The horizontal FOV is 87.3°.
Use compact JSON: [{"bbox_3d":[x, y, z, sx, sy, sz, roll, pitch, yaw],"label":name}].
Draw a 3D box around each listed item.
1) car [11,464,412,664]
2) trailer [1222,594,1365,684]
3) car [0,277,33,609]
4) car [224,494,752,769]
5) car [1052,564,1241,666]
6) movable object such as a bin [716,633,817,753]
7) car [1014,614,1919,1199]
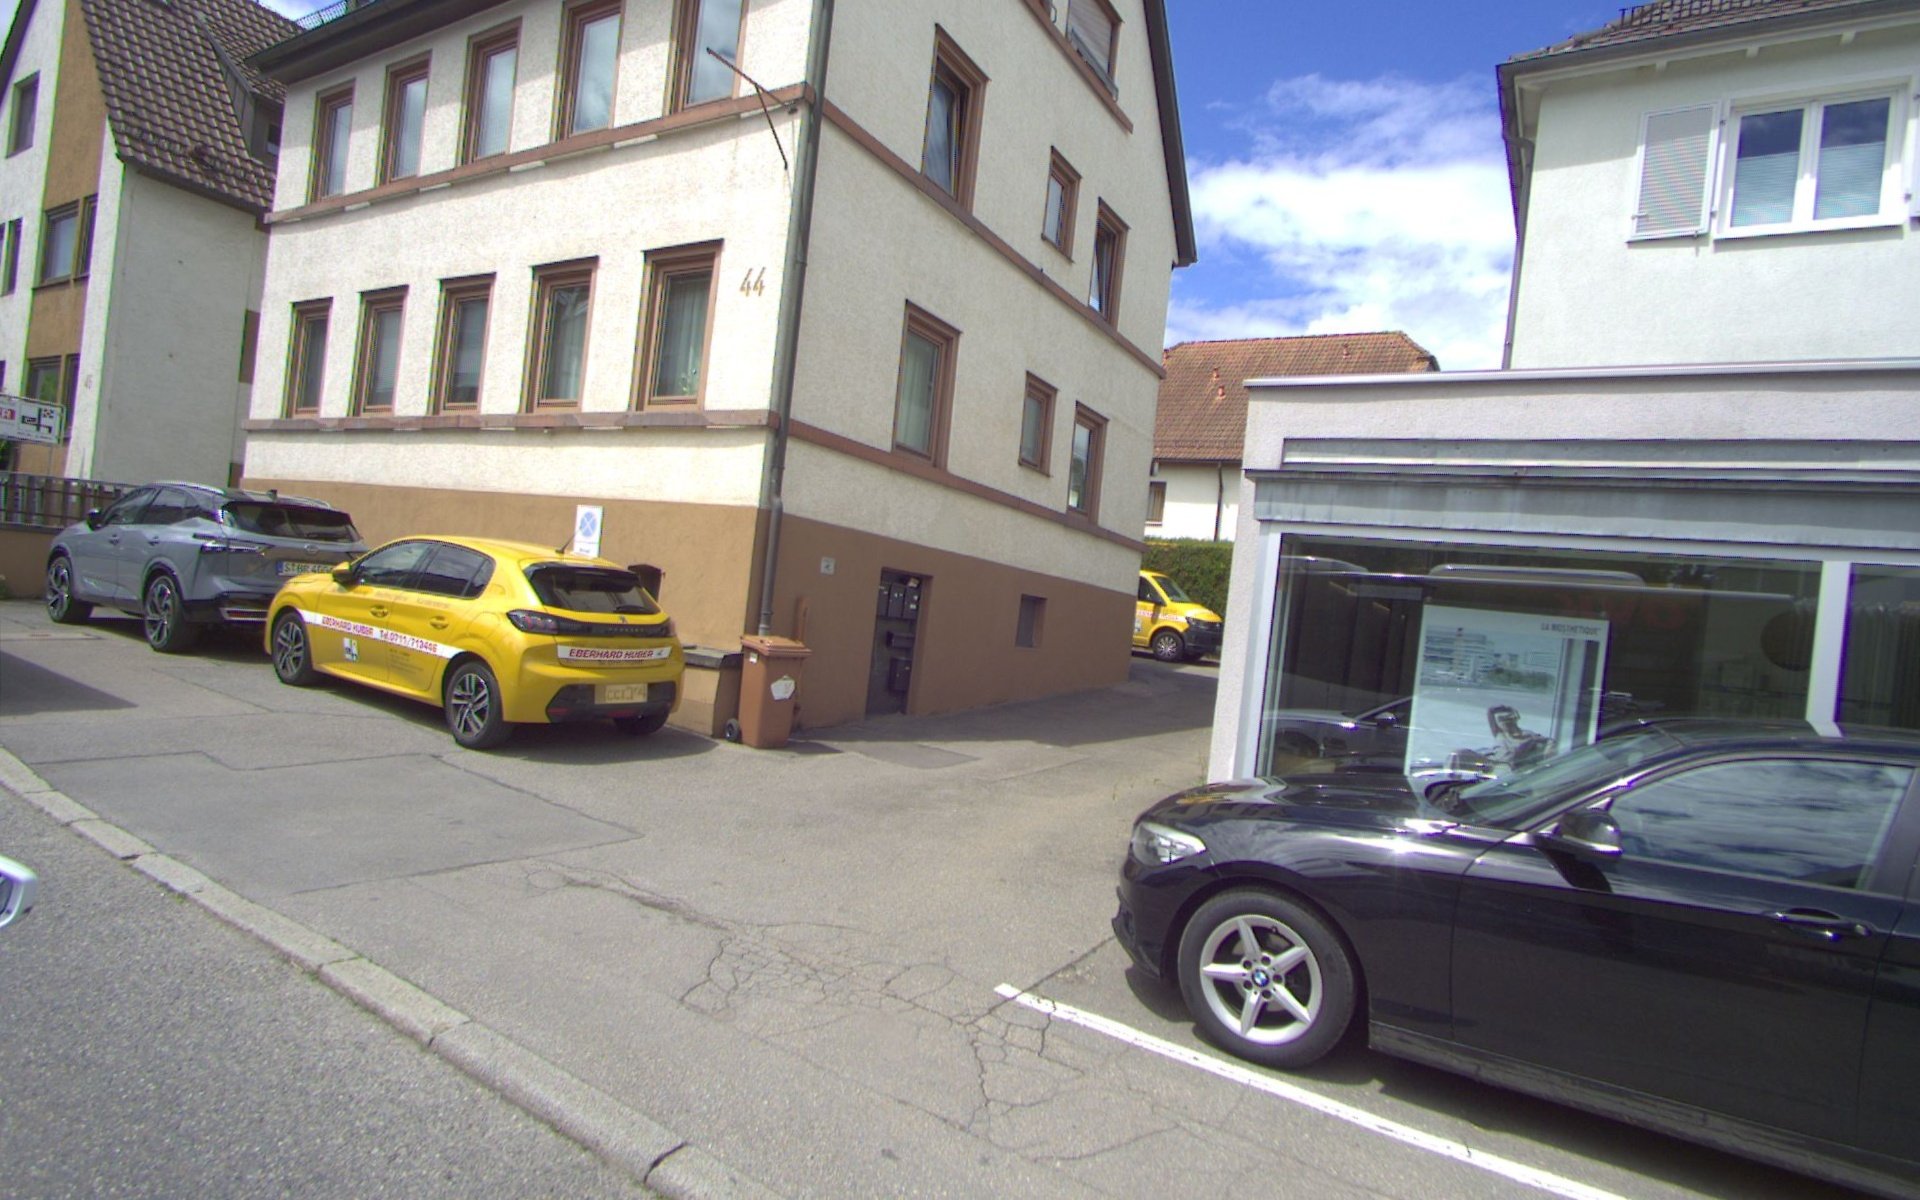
[{"bbox_3d":[-8.133,-0.426,10.819,4.510,1.632,1.862,7,1,32],"label":"car"},{"bbox_3d":[7.028,0.822,21.016,1.619,1.559,3.531,8,3,38],"label":"trailer"},{"bbox_3d":[-8.995,-0.963,7.046,5.479,2.830,2.254,7,0,33],"label":"car"},{"bbox_3d":[-4.066,0.161,8.506,4.234,1.466,1.879,9,1,30],"label":"car"},{"bbox_3d":[4.253,0.303,23.113,3.715,1.928,1.844,6,3,33],"label":"car"},{"bbox_3d":[-1.674,0.796,8.704,0.589,0.936,0.501,7,1,36],"label":"movable object such as a bin"},{"bbox_3d":[2.685,1.069,3.614,4.459,1.465,1.971,7,0,30],"label":"car"}]
